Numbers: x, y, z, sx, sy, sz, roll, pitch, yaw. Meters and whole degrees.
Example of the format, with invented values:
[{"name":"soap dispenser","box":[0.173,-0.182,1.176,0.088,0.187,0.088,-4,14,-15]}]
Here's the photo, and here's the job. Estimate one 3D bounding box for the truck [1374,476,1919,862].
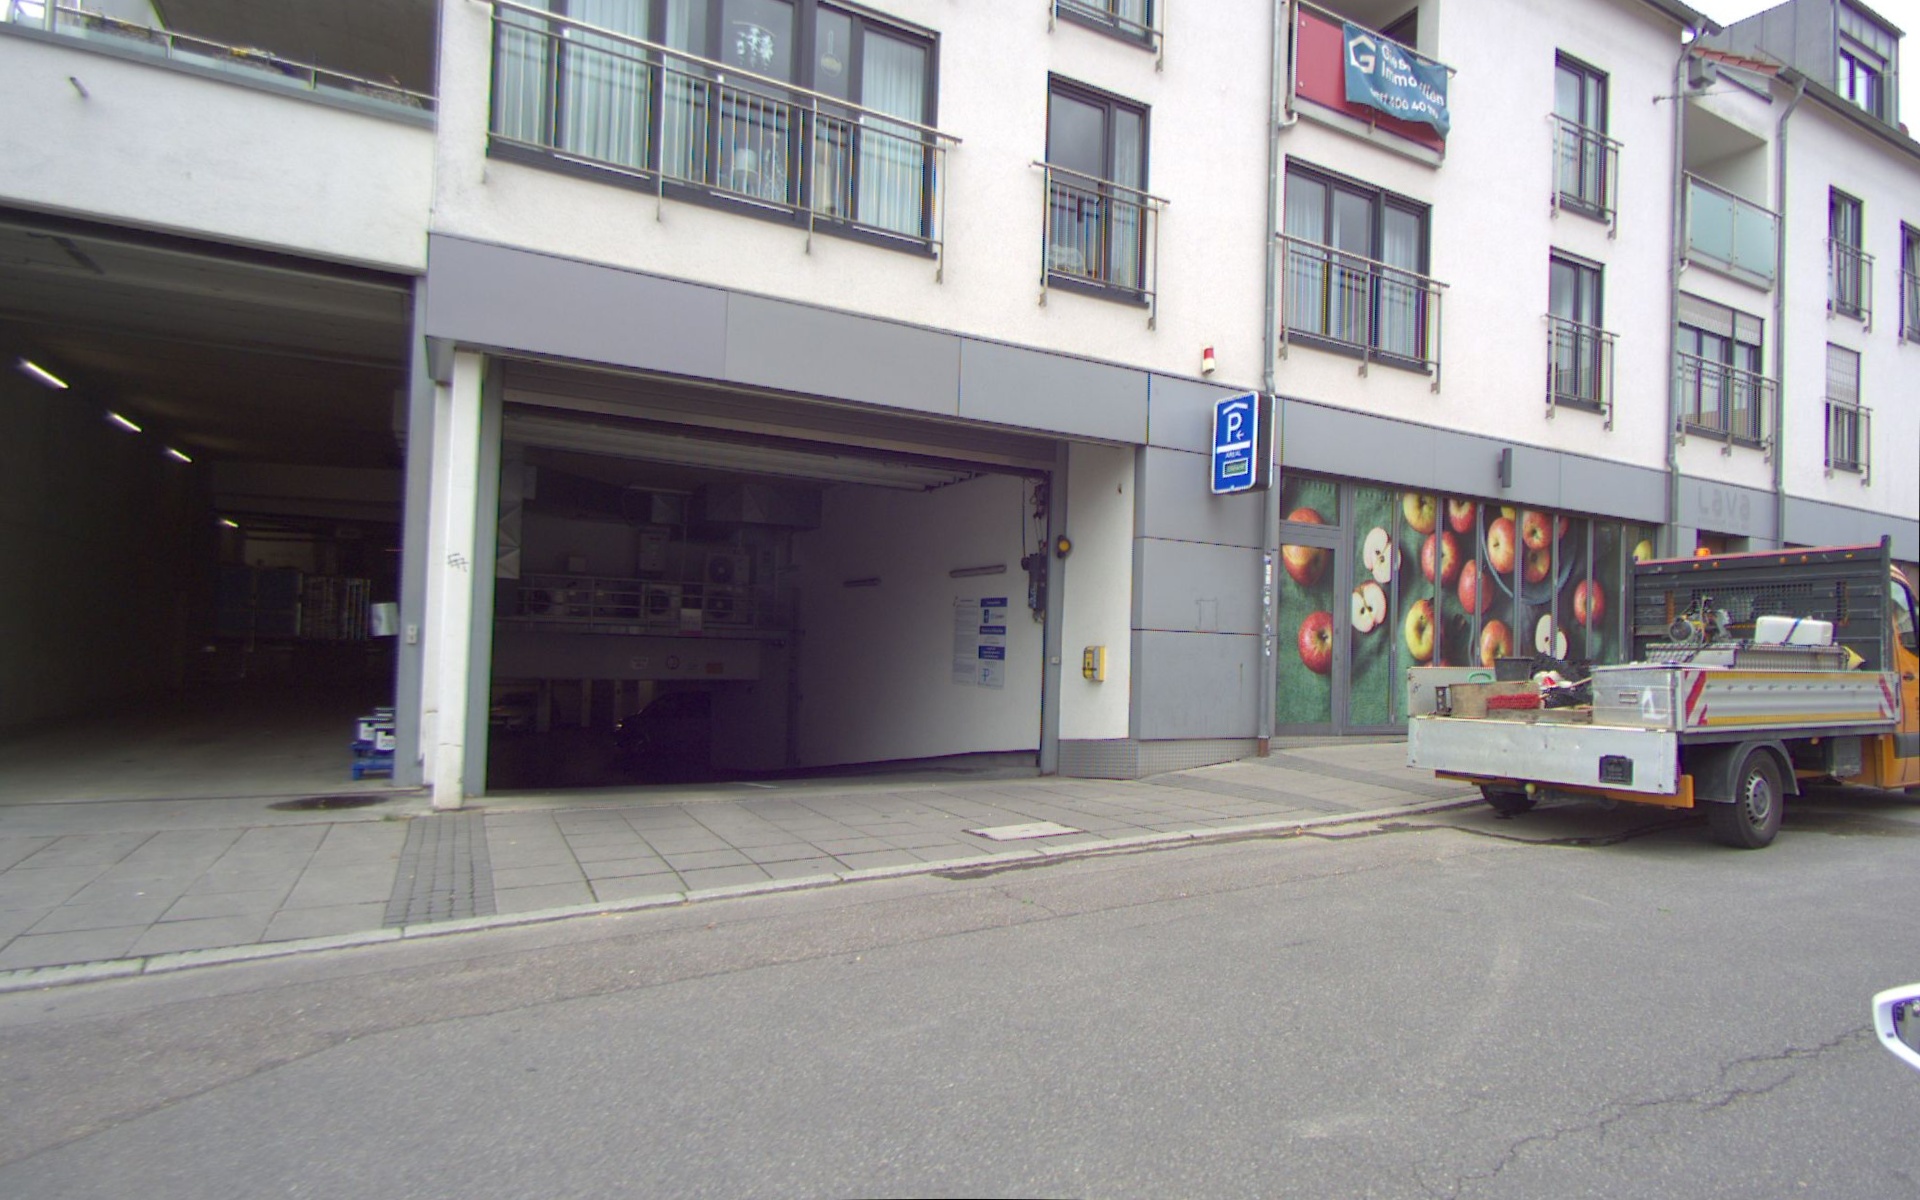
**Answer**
[{"name":"truck","box":[6.850,0.541,9.075,6.230,2.498,2.404,1,-2,-29]}]
